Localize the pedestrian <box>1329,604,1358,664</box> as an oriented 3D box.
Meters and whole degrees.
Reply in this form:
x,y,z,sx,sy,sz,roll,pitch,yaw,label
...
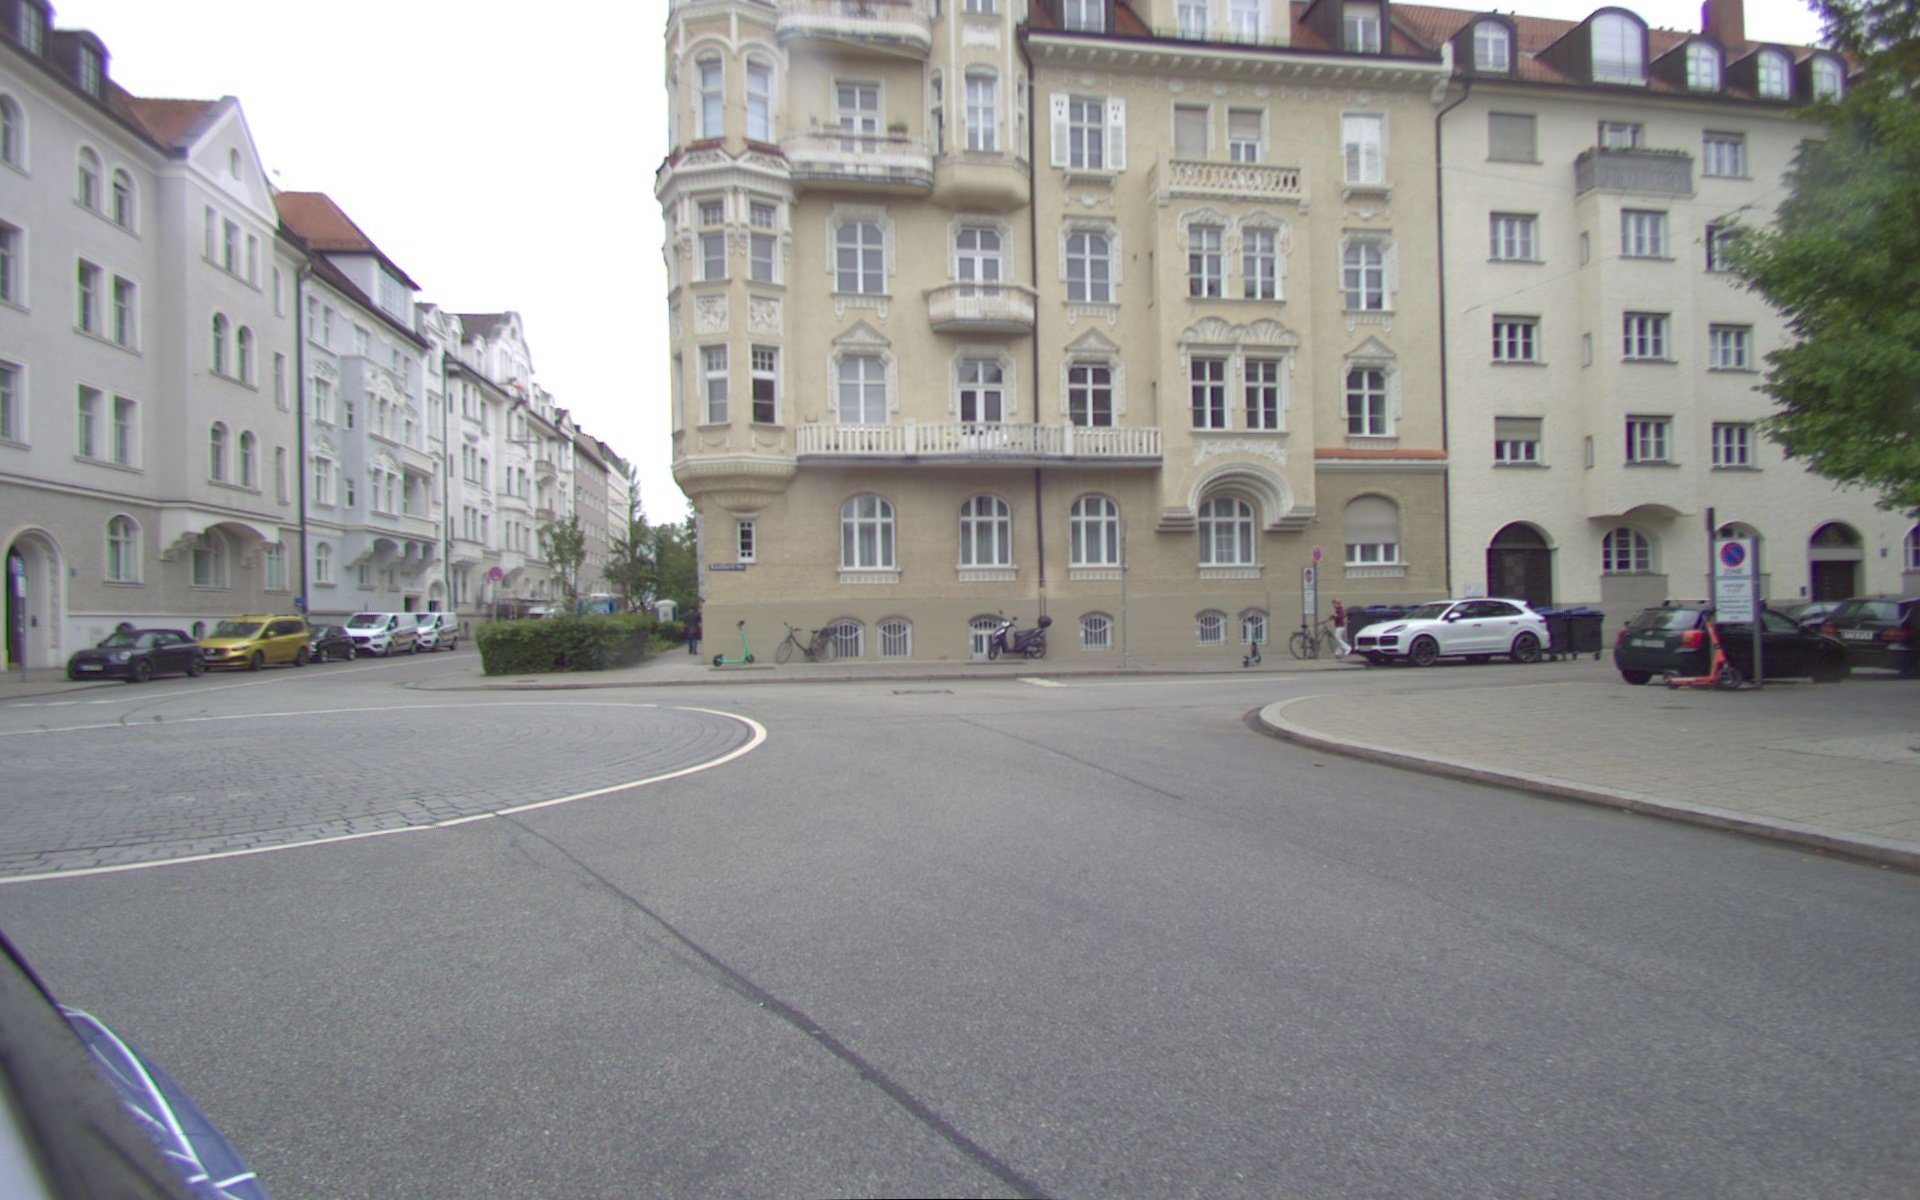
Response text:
x,y,z,sx,sy,sz,roll,pitch,yaw,label
10.926,0.956,28.828,0.598,1.677,0.463,-1,0,-4,pedestrian

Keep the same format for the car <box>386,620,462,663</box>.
x,y,z,sx,sy,sz,roll,pitch,yaw,label
-26.964,2.032,51.077,2.022,1.953,4.585,0,0,-9,car

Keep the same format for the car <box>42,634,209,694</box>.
x,y,z,sx,sy,sz,roll,pitch,yaw,label
-23.501,1.756,28.700,1.921,1.430,3.826,0,0,-7,car

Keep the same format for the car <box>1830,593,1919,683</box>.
x,y,z,sx,sy,sz,roll,pitch,yaw,label
18.857,0.666,18.995,4.034,1.602,1.594,0,0,-9,car

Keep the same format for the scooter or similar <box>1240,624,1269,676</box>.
x,y,z,sx,sy,sz,roll,pitch,yaw,label
7.417,1.231,25.465,0.407,1.239,1.265,-1,0,30,scooter or similar

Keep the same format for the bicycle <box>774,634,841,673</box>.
x,y,z,sx,sy,sz,roll,pitch,yaw,label
-4.134,1.445,27.482,1.755,0.999,0.544,-1,0,-13,bicycle

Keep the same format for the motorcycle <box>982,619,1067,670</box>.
x,y,z,sx,sy,sz,roll,pitch,yaw,label
1.782,1.232,28.180,2.209,1.336,0.826,-1,0,-11,motorcycle

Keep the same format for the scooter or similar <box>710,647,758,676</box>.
x,y,z,sx,sy,sz,roll,pitch,yaw,label
-5.987,1.621,26.812,1.213,0.692,0.317,-1,0,-38,scooter or similar

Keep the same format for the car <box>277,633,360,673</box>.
x,y,z,sx,sy,sz,roll,pitch,yaw,label
-24.837,2.004,39.296,1.420,1.369,3.364,0,0,-7,car

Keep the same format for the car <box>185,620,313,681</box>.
x,y,z,sx,sy,sz,roll,pitch,yaw,label
-23.887,1.633,34.203,1.768,1.833,4.311,0,0,-7,car

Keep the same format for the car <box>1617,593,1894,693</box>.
x,y,z,sx,sy,sz,roll,pitch,yaw,label
13.844,0.724,17.673,4.031,1.602,1.595,0,-2,-14,car

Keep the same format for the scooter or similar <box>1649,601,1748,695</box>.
x,y,z,sx,sy,sz,roll,pitch,yaw,label
11.497,0.746,15.758,1.104,1.398,0.791,-4,-3,41,scooter or similar

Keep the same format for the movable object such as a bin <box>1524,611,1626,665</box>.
x,y,z,sx,sy,sz,roll,pitch,yaw,label
16.467,1.010,27.171,1.854,1.383,1.561,-1,0,9,movable object such as a bin

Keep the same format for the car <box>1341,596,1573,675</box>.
x,y,z,sx,sy,sz,roll,pitch,yaw,label
12.614,0.858,25.854,4.950,1.880,2.171,0,0,-9,car

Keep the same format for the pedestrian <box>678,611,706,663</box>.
x,y,z,sx,sy,sz,roll,pitch,yaw,label
-9.620,1.323,36.392,0.738,1.806,0.699,-1,0,10,pedestrian

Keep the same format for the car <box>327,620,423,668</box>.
x,y,z,sx,sy,sz,roll,pitch,yaw,label
-25.979,1.886,45.144,2.124,1.927,4.782,0,0,-9,car

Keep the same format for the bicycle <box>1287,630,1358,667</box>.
x,y,z,sx,sy,sz,roll,pitch,yaw,label
9.855,1.308,27.507,1.783,0.964,0.468,-1,0,-6,bicycle
